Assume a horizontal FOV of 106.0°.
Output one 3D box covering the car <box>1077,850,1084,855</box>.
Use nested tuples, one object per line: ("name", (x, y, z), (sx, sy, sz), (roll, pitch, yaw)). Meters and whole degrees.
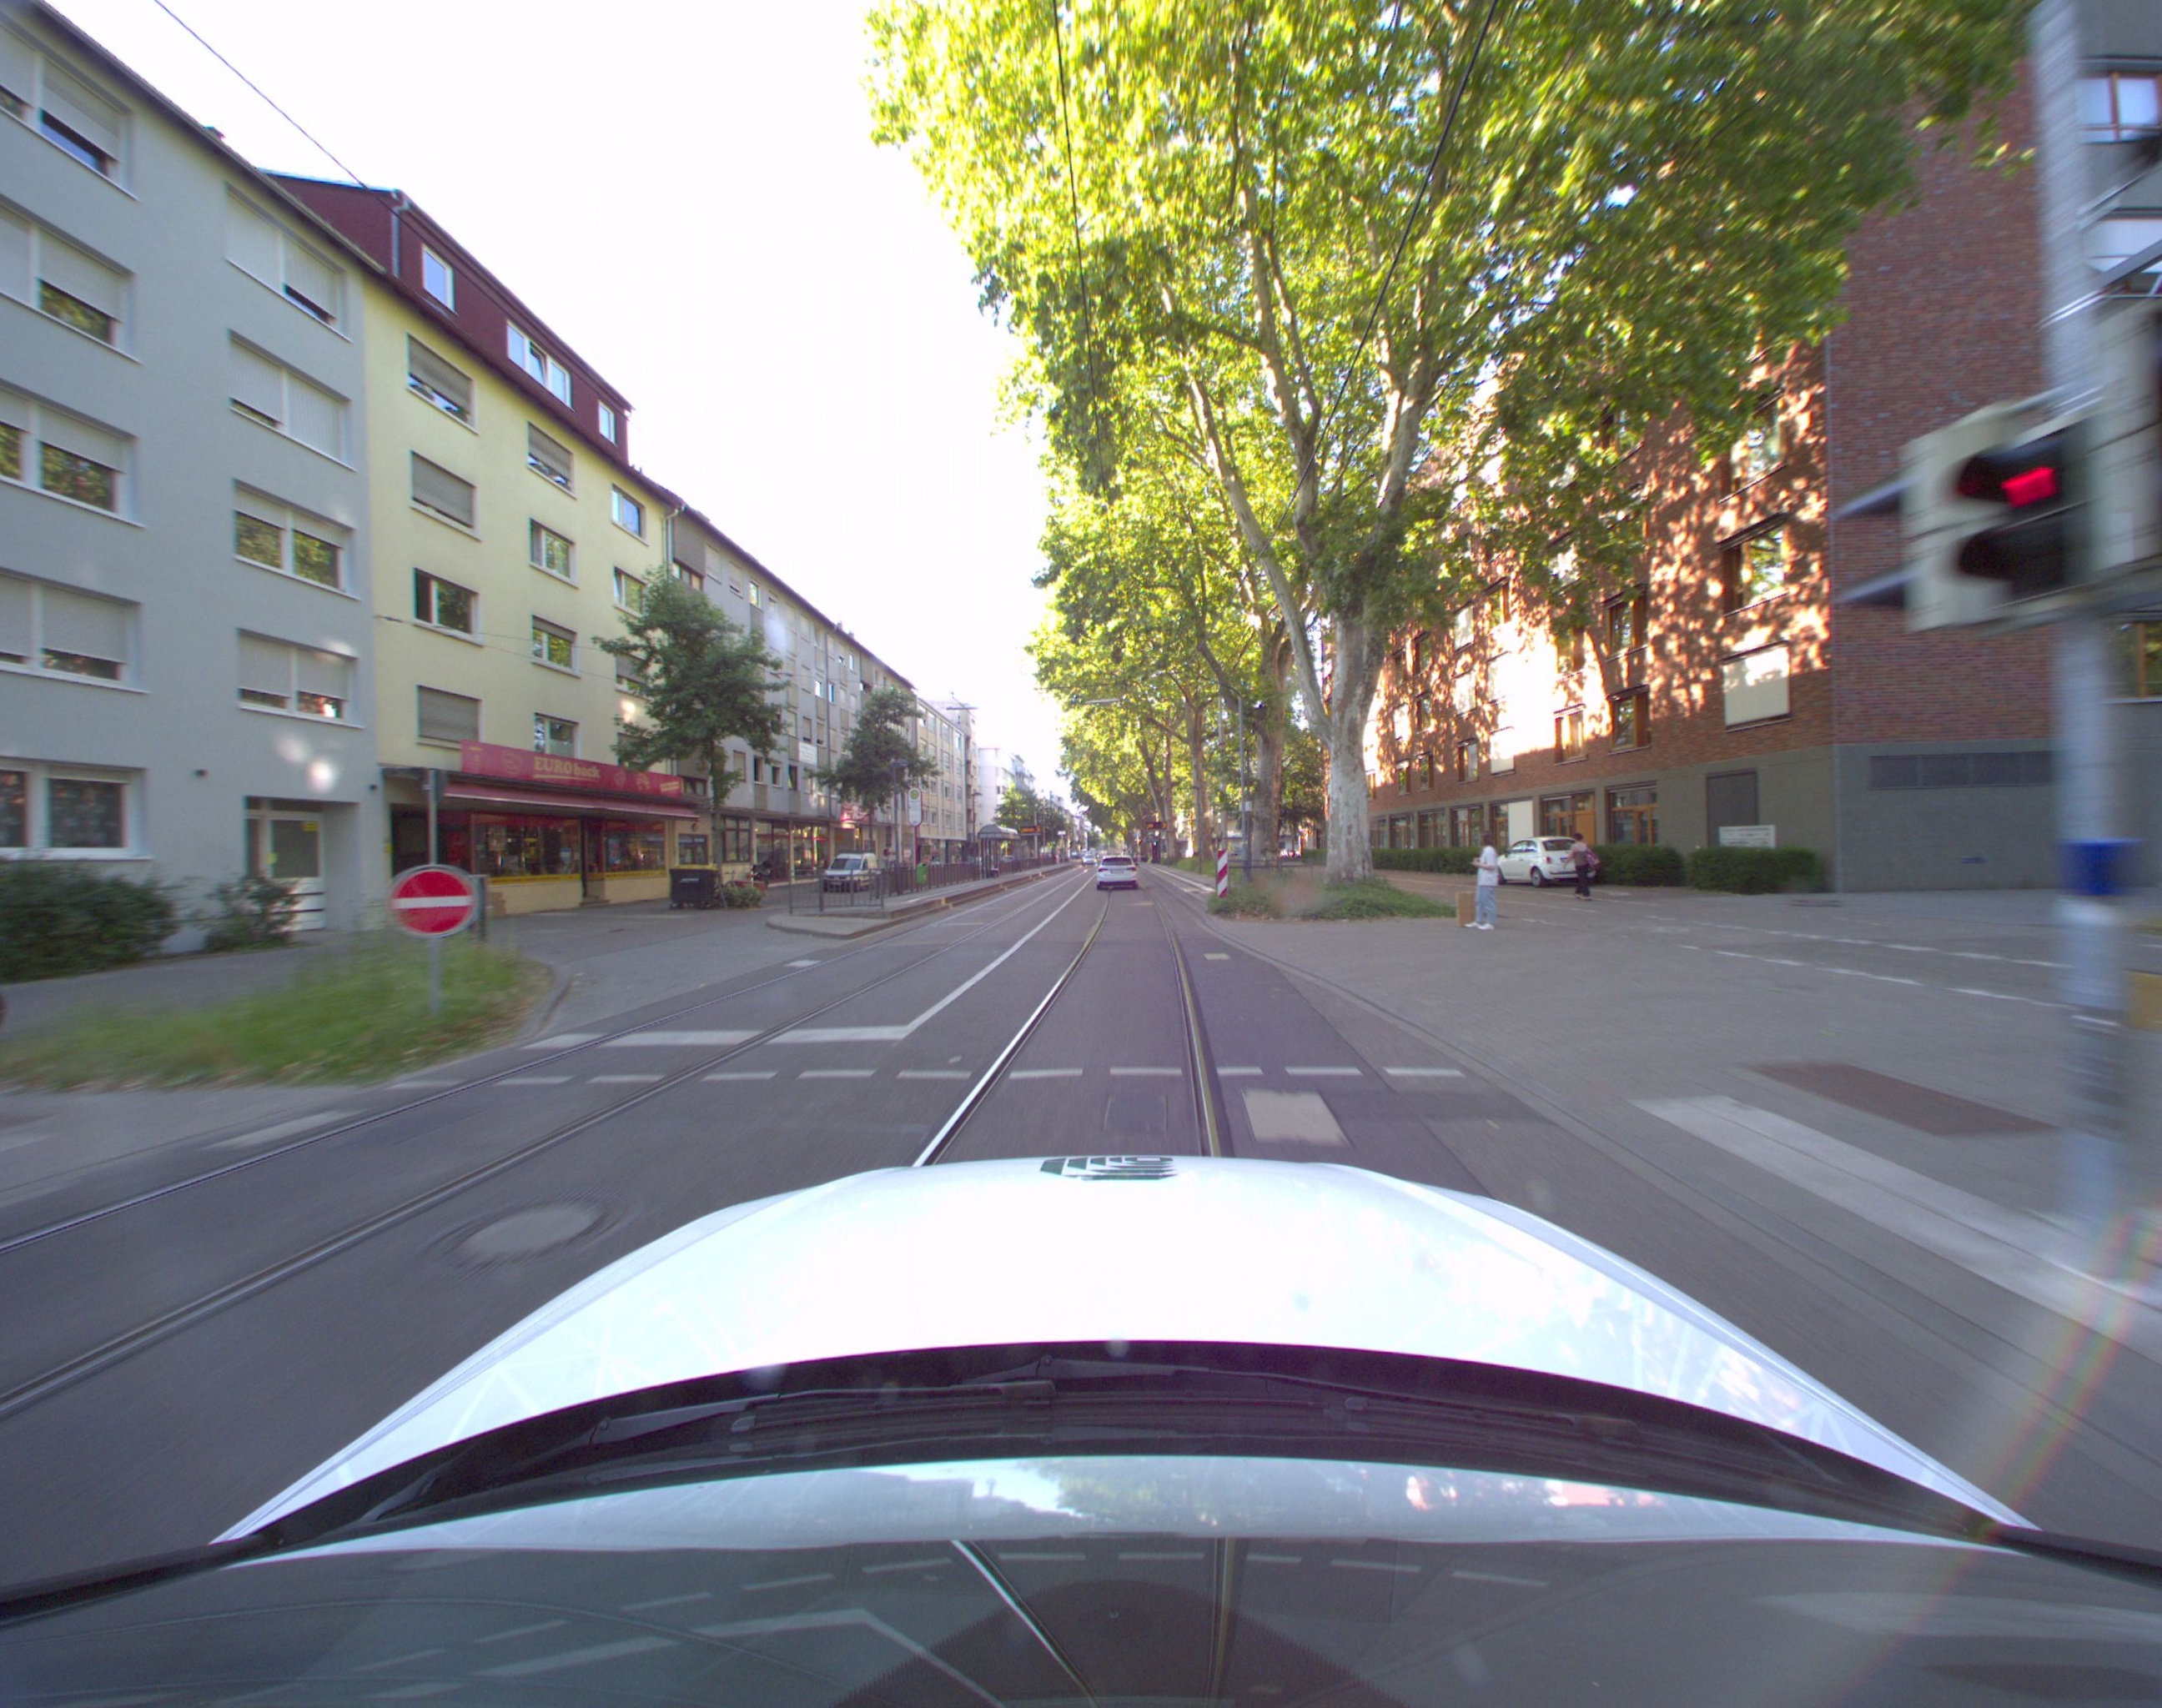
("car", (-0.151, -0.447, 247.875), (1.781, 1.513, 4.003), (-2, 0, 2))

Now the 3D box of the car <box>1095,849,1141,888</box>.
("car", (1.557, 0.560, 34.539), (1.781, 1.513, 4.003), (-2, 0, 2))

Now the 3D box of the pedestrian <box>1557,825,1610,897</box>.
("pedestrian", (11.991, 0.168, 19.463), (0.733, 1.669, 0.835), (-2, 0, 2))

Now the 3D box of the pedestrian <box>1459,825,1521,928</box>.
("pedestrian", (6.867, 0.366, 13.703), (0.650, 1.669, 0.738), (-2, 0, 2))

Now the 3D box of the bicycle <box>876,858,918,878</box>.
("bicycle", (-10.517, 0.777, 46.633), (2.243, 1.074, 0.637), (2, 0, 3))

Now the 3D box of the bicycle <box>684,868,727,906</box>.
("bicycle", (-11.955, 1.029, 25.986), (0.497, 1.107, 1.800), (2, 0, 0))

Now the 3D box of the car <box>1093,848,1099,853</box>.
("car", (4.559, -0.972, 245.612), (1.781, 1.513, 4.003), (-2, 0, 2))

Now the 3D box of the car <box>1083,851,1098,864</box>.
("car", (1.192, 0.373, 98.025), (1.687, 1.419, 4.003), (-2, 0, 2))

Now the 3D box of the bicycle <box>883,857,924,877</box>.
("bicycle", (-10.441, 0.761, 47.861), (2.243, 1.074, 0.637), (2, 0, 3))

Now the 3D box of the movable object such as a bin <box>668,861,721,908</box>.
("movable object such as a bin", (-11.648, 0.922, 24.574), (1.167, 1.348, 0.782), (2, 0, -2))

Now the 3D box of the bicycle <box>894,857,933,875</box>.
("bicycle", (-10.453, 0.749, 50.875), (2.243, 1.074, 0.637), (2, 0, 3))

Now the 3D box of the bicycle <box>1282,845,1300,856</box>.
("bicycle", (19.384, -0.315, 75.146), (1.552, 1.037, 0.482), (-2, 0, 23))

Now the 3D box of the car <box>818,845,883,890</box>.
("car", (-10.673, 0.595, 37.954), (1.681, 1.940, 4.002), (-2, 0, 2))

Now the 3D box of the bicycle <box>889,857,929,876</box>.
("bicycle", (-10.377, 0.754, 49.124), (2.243, 1.074, 0.637), (2, 0, 3))

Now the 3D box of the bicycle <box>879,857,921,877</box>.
("bicycle", (-10.482, 0.747, 47.240), (2.243, 1.074, 0.637), (2, 0, 3))

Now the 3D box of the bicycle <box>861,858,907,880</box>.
("bicycle", (-10.588, 0.790, 43.780), (2.243, 1.074, 0.637), (2, 0, 3))

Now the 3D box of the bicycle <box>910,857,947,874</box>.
("bicycle", (-10.177, 0.741, 54.373), (2.243, 1.074, 0.637), (2, 0, 3))

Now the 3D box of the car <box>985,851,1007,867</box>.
("car", (-8.613, 0.488, 82.620), (1.671, 1.548, 4.002), (1, 1, 2))

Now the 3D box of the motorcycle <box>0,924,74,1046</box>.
("motorcycle", (-9.882, 1.194, 6.770), (0.593, 1.032, 1.879), (-2, 0, 3))

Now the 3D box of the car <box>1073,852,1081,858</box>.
("car", (-0.955, 0.252, 212.754), (1.781, 1.513, 4.003), (-2, 0, 2))

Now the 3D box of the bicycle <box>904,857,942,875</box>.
("bicycle", (-10.227, 0.750, 52.701), (2.243, 1.074, 0.637), (2, 0, 3))

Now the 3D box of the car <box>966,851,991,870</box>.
("car", (-8.960, 0.541, 71.401), (1.587, 1.548, 4.003), (1, 1, 2))

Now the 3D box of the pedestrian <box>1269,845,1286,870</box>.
("pedestrian", (13.479, 0.243, 55.818), (0.968, 1.623, 0.888), (-2, 0, 2))

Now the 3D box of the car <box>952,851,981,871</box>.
("car", (-9.275, 0.565, 66.213), (1.587, 1.548, 4.003), (1, 1, 2))

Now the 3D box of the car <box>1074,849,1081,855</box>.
("car", (-1.052, -0.551, 228.813), (1.781, 1.513, 4.003), (-2, 0, 2))

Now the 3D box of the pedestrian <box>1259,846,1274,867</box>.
("pedestrian", (14.765, 0.160, 64.741), (0.968, 1.623, 0.888), (-2, 0, 2))

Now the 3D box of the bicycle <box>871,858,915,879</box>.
("bicycle", (-10.471, 0.793, 45.426), (2.243, 1.074, 0.637), (2, 0, 3))

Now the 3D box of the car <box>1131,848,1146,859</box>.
("car", (8.363, -0.087, 118.449), (1.986, 1.453, 4.003), (-2, 0, 2))

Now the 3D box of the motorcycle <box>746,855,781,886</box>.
("motorcycle", (-14.349, 0.722, 36.844), (0.596, 1.311, 2.223), (-2, 0, 2))

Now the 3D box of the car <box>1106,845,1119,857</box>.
("car", (4.283, -0.399, 111.153), (1.781, 1.513, 4.003), (-2, 0, 2))

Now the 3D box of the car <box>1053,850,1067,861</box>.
("car", (-3.020, 0.256, 116.938), (1.671, 1.548, 4.002), (1, 1, 2))

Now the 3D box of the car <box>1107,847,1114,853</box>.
("car", (8.528, -1.182, 234.641), (1.859, 1.892, 4.003), (-2, 0, 2))

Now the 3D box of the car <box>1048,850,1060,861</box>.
("car", (-4.115, 0.201, 124.532), (1.671, 1.548, 4.002), (1, 1, 2))

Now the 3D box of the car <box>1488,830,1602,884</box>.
("car", (14.143, 0.077, 25.046), (1.595, 1.495, 3.418), (-2, 0, 1))

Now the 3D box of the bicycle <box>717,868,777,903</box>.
("bicycle", (-10.906, 1.020, 26.624), (1.528, 1.075, 0.886), (1, 1, 1))

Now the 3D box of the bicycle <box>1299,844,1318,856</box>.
("bicycle", (20.984, -0.356, 75.114), (1.552, 1.037, 0.482), (-2, 0, 25))

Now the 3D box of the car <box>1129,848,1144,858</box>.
("car", (8.399, -0.109, 123.540), (1.986, 1.453, 4.003), (-2, 0, 2))
